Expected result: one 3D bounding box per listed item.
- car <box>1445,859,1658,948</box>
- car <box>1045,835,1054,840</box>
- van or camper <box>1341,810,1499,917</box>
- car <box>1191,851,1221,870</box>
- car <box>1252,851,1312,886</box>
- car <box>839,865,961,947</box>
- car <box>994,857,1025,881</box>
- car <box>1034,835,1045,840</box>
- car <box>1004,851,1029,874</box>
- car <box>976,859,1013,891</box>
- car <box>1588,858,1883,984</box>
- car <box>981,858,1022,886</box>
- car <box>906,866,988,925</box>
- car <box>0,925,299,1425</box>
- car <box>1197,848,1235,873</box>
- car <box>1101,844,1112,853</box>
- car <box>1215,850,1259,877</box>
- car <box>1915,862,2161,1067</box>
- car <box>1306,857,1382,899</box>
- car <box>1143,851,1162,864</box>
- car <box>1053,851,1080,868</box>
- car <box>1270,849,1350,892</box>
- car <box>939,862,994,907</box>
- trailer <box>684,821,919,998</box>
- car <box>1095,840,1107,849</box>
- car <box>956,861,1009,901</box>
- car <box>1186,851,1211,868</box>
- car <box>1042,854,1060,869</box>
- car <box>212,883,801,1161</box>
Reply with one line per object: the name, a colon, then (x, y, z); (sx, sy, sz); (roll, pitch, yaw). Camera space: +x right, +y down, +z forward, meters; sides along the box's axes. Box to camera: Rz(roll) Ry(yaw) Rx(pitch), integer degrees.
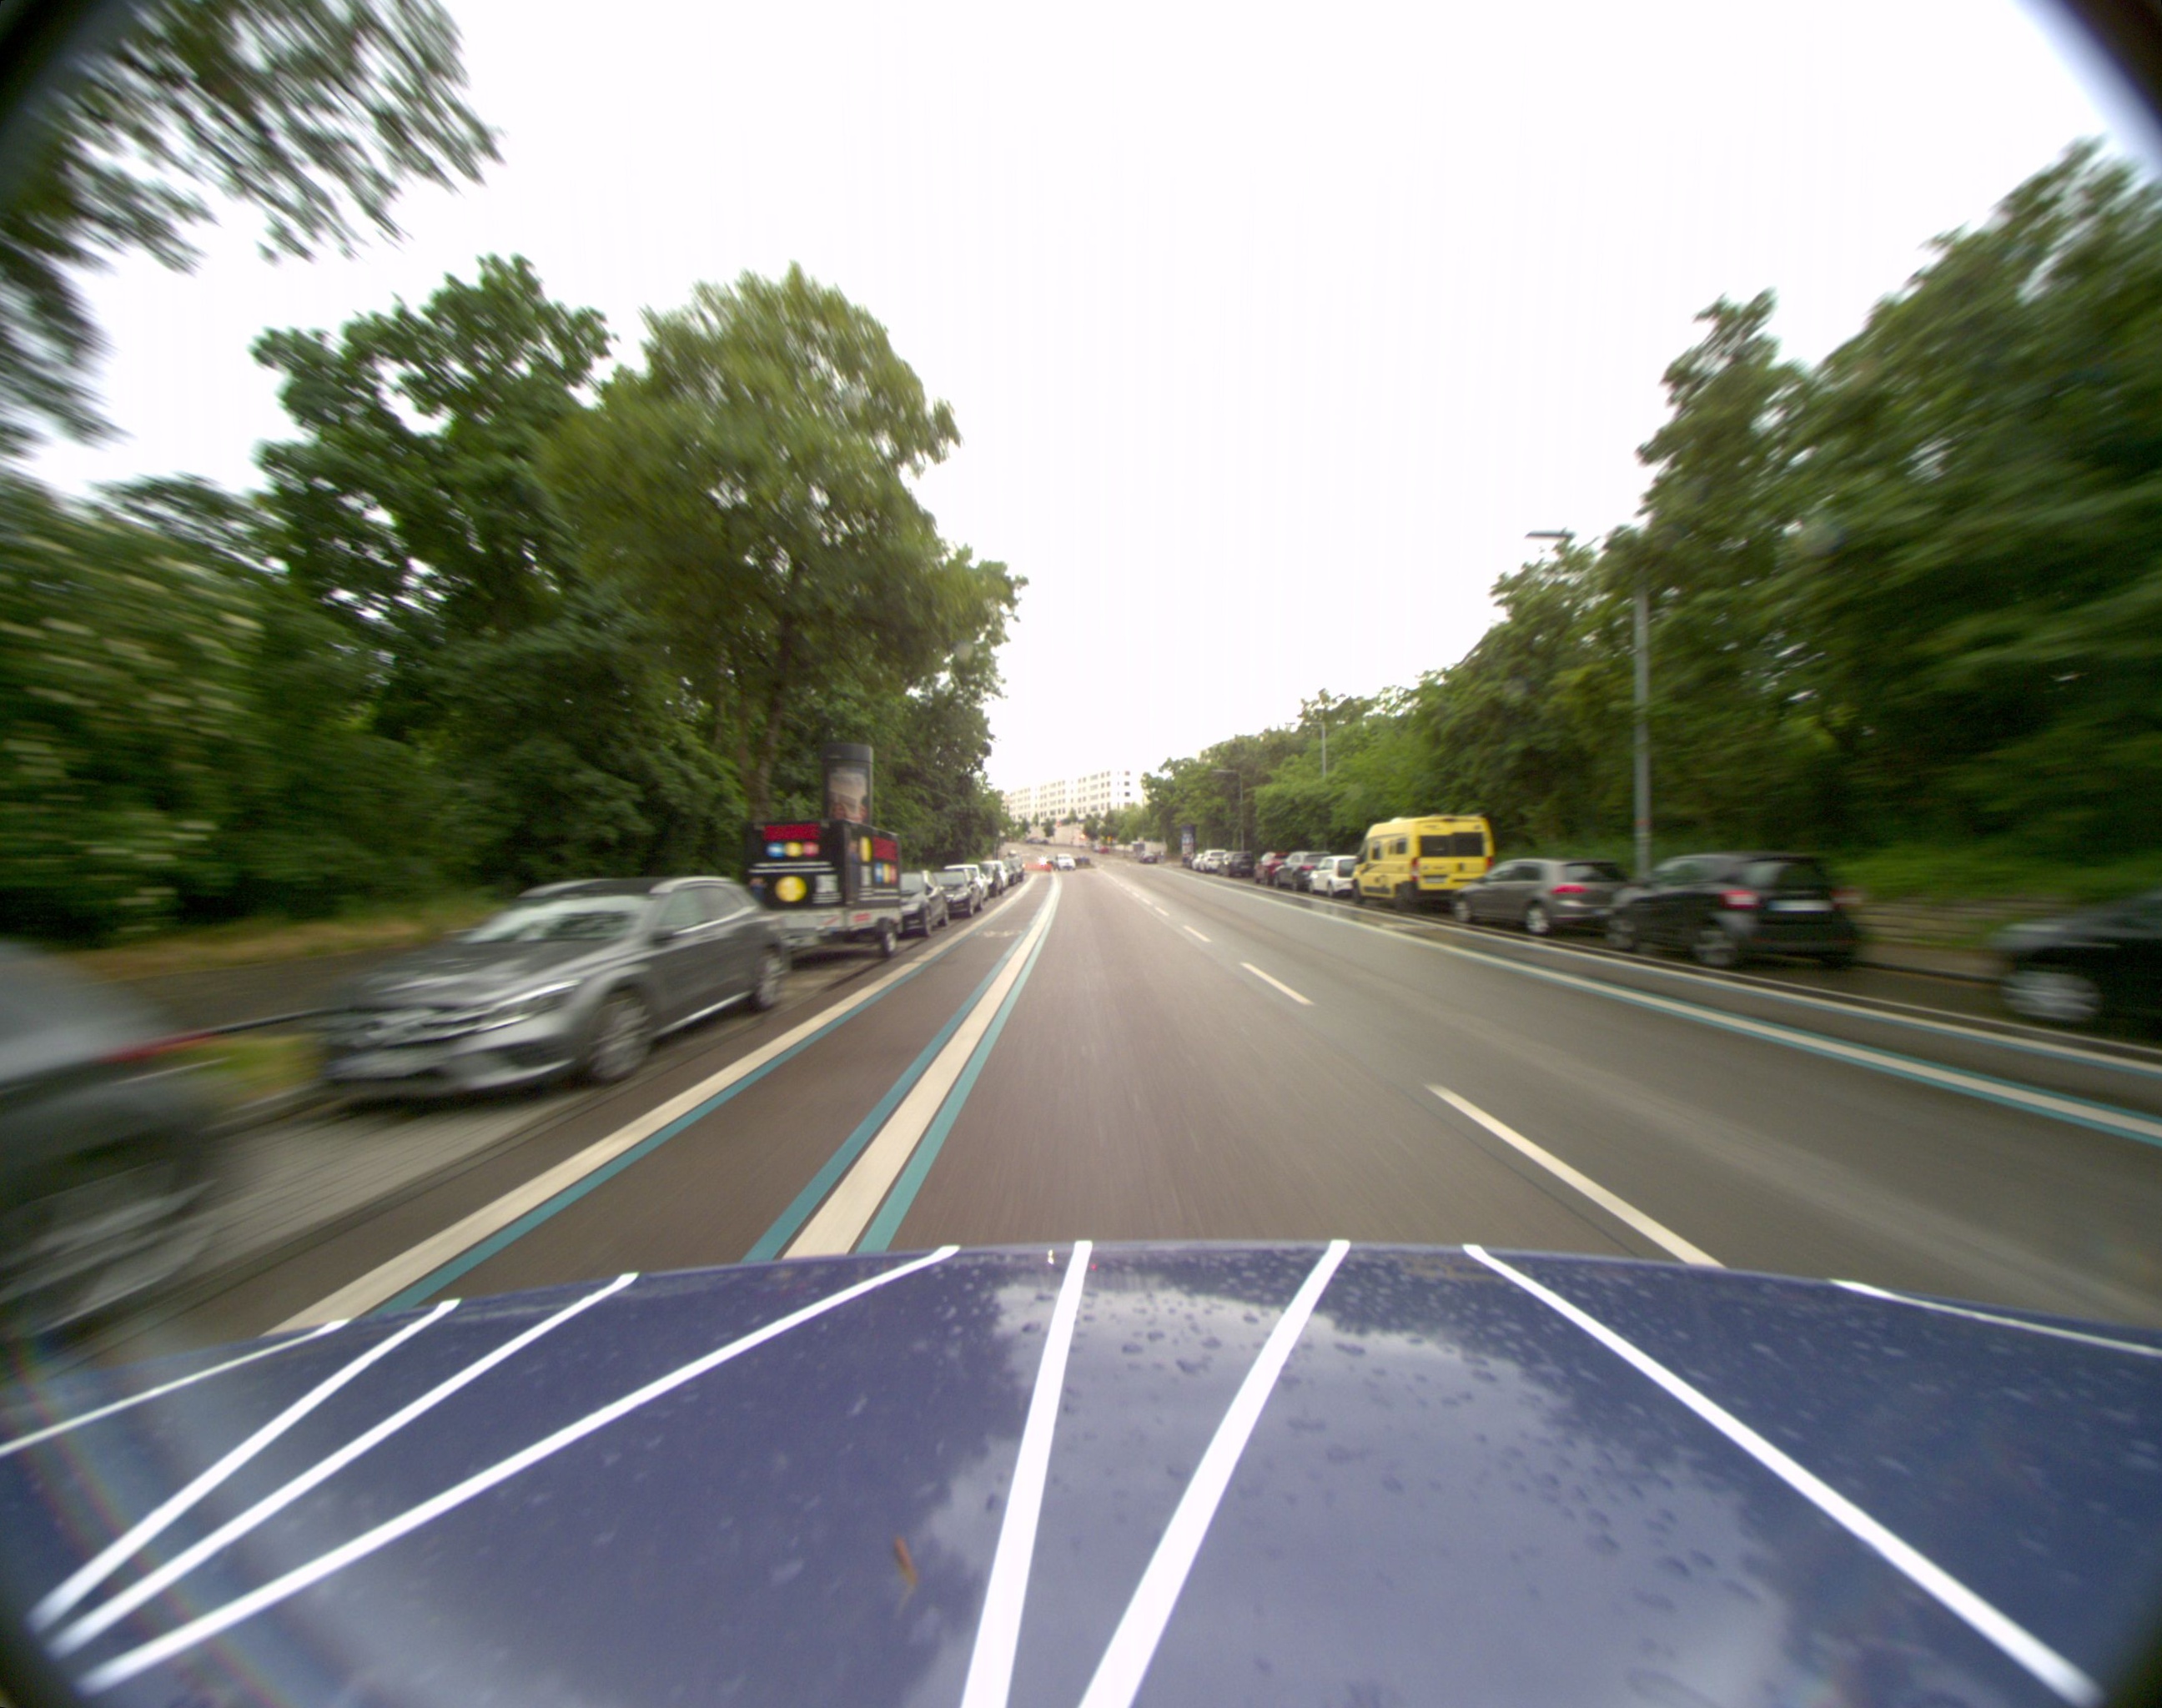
car: (9.181, 0.875, 15.298); (1.684, 1.490, 4.148); (0, 0, -1)
car: (-9.438, -4.935, 229.715); (1.683, 1.451, 2.689); (-1, 3, -25)
van or camper: (9.435, 0.227, 21.811); (2.149, 2.612, 5.682); (-1, 0, 2)
car: (10.410, 0.507, 63.597); (1.723, 1.452, 4.707); (-1, 0, 0)
car: (10.015, 0.682, 38.240); (1.923, 1.607, 4.489); (-1, 1, 2)
car: (-3.995, 1.086, 17.498); (1.827, 1.477, 4.199); (-3, 0, -2)
car: (-4.662, 0.948, 50.016); (1.858, 1.391, 4.383); (-3, 1, -3)
car: (-12.833, -5.143, 235.032); (1.866, 1.470, 3.990); (-2, 3, -25)
car: (-5.101, 0.660, 60.577); (1.827, 1.605, 4.250); (-3, 1, -4)
car: (-4.380, 1.034, 38.909); (1.564, 1.452, 3.675); (-2, 1, -2)
car: (9.092, 0.835, 10.917); (1.606, 1.501, 3.139); (-1, 0, 2)
car: (-4.538, 0.991, 44.040); (1.861, 1.447, 4.750); (-2, 0, -1)
car: (-3.905, 1.171, 22.898); (1.756, 1.385, 4.444); (-3, 1, -2)
car: (-4.216, 1.077, 1.229); (1.619, 1.462, 4.000); (-2, 0, 2)
car: (10.228, 0.484, 57.836); (1.998, 1.755, 4.959); (-2, 1, 0)
car: (5.301, -1.139, 159.500); (1.670, 1.578, 4.212); (-1, 3, -8)
car: (10.175, 0.565, 49.794); (1.736, 1.639, 4.570); (-2, 1, -2)
car: (9.009, 0.855, 5.525); (1.606, 1.501, 3.977); (-1, 0, 2)
car: (9.627, 0.836, 28.105); (1.621, 1.440, 3.657); (0, 0, 2)
car: (9.176, 0.423, 98.186); (1.911, 1.406, 4.781); (-2, 1, 0)
car: (-1.467, 0.530, 75.696); (1.929, 1.652, 3.996); (-2, 0, -11)
car: (9.784, 0.669, 32.839); (1.999, 1.690, 4.615); (-1, 0, -1)
car: (-4.241, 1.095, 28.689); (1.622, 1.458, 3.998); (-3, 1, -3)
trailer: (-4.135, 0.716, 12.235); (1.911, 2.234, 4.768); (-2, 0, 1)
car: (4.353, -2.104, 166.344); (1.769, 1.644, 4.878); (-3, 3, -7)
car: (-4.190, 1.112, 32.972); (1.663, 1.456, 3.899); (-4, 0, 1)
car: (10.704, 0.460, 69.312); (1.753, 1.437, 4.587); (-2, 0, 3)
car: (-3.651, 0.923, 91.029); (1.830, 1.584, 3.997); (-3, 1, -6)
car: (-4.243, 1.087, 6.745); (1.800, 1.442, 4.428); (-1, 0, 0)
